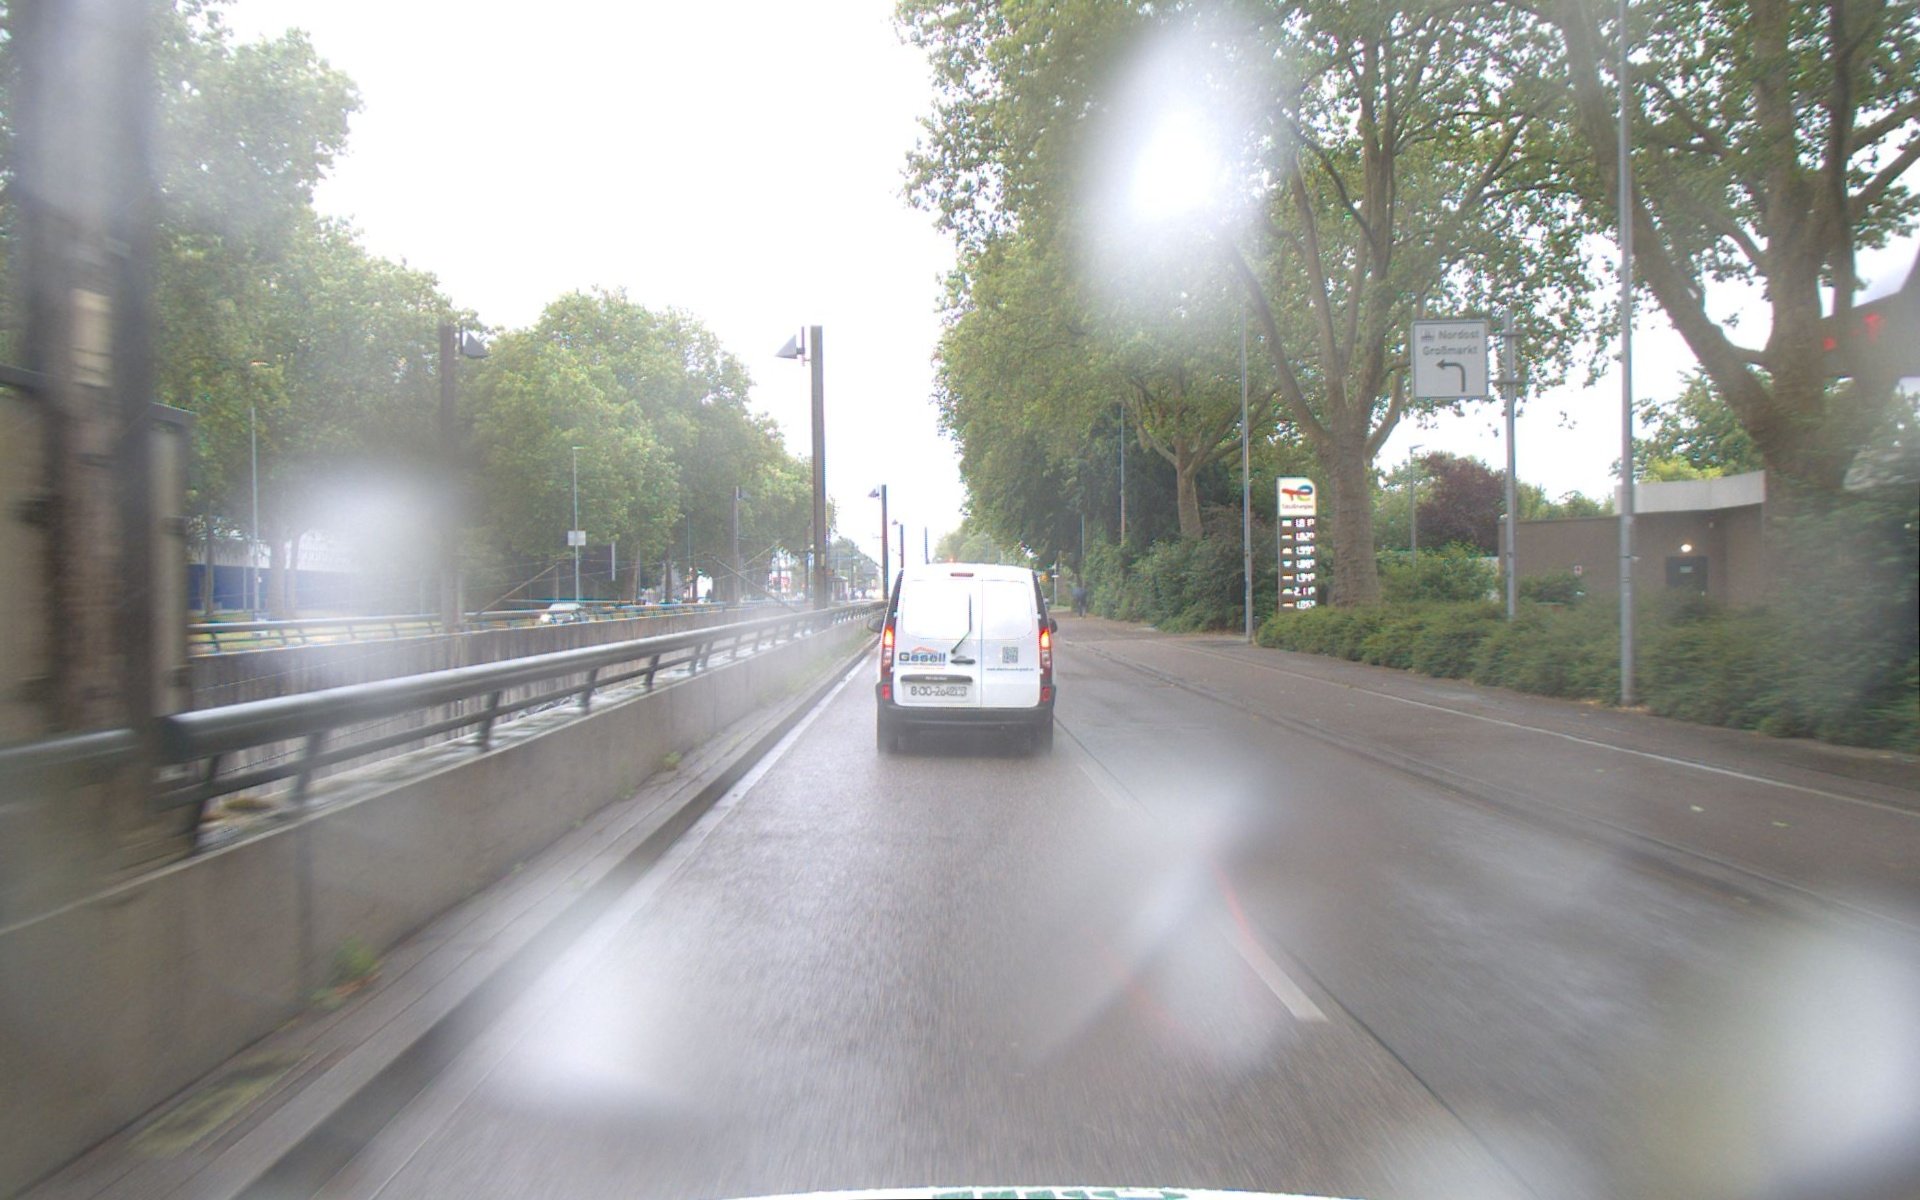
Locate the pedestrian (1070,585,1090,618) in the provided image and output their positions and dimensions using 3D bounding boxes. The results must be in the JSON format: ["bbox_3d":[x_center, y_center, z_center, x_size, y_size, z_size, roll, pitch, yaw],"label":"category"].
[{"bbox_3d":[6.343,0.076,87.351,0.947,1.732,1.141,0,0,0],"label":"pedestrian"}]

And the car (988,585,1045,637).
[{"bbox_3d":[2.061,0.370,59.888,1.952,1.780,4.001,1,0,2],"label":"car"}]

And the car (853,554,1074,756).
[{"bbox_3d":[-0.008,0.494,17.209,1.984,1.806,4.273,1,0,-1],"label":"car"}]

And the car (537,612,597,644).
[{"bbox_3d":[-19.162,1.351,80.742,1.952,1.428,3.795,0,0,1],"label":"car"}]
